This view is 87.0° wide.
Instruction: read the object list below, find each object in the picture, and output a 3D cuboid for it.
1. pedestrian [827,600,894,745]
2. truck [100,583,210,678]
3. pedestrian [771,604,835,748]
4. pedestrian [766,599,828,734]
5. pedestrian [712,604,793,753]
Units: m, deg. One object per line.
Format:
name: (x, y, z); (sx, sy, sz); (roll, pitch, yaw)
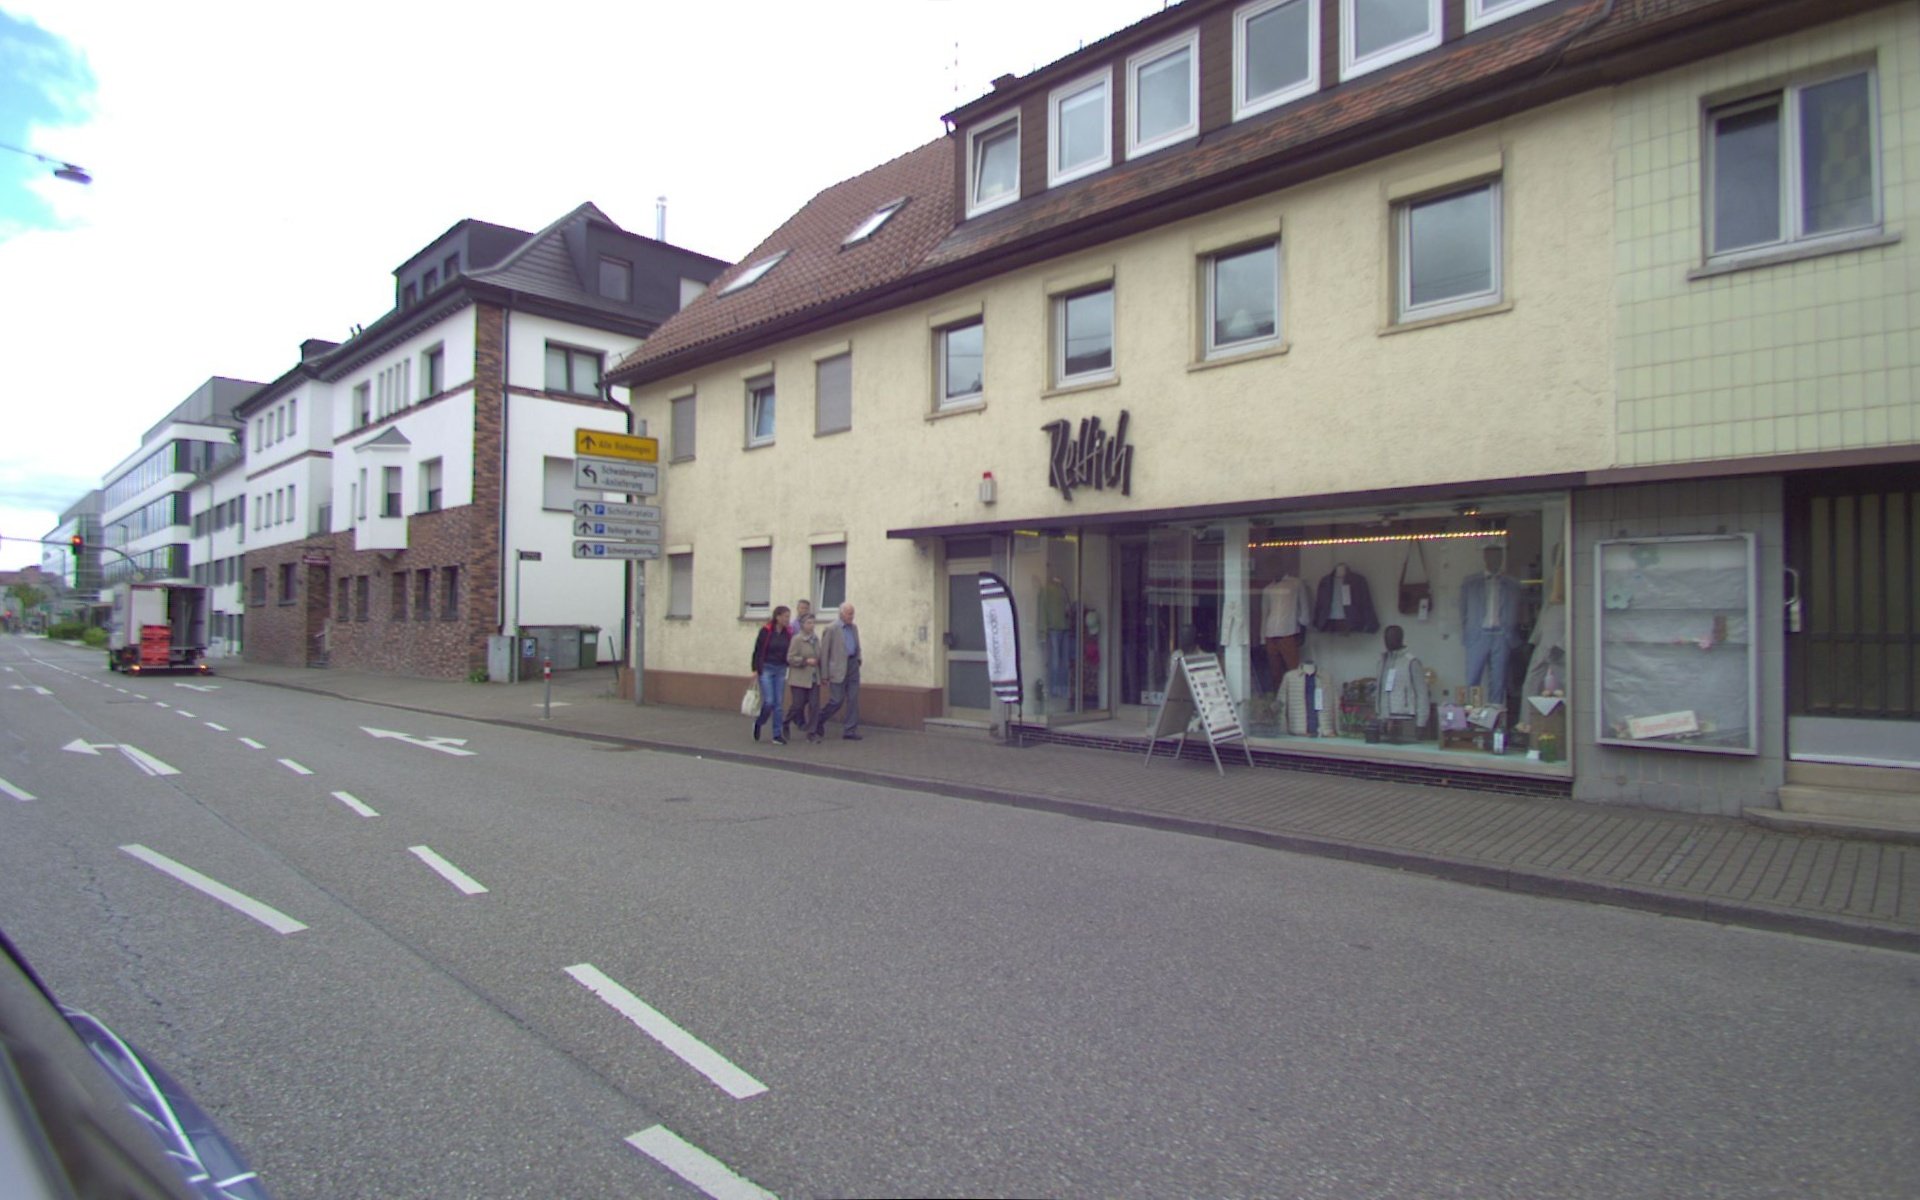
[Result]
pedestrian: (-1.243, 0.888, 12.620); (0.648, 1.750, 0.547); (-2, -3, 45)
truck: (-27.979, 1.033, 35.095); (2.433, 2.993, 5.969); (0, -1, -44)
pedestrian: (-1.968, 0.931, 12.675); (0.648, 1.750, 0.490); (-2, -3, 45)
pedestrian: (-2.193, 0.882, 13.609); (0.648, 1.750, 0.547); (-2, -3, 45)
pedestrian: (-2.540, 0.934, 12.397); (0.717, 1.750, 0.670); (-2, -3, 44)
